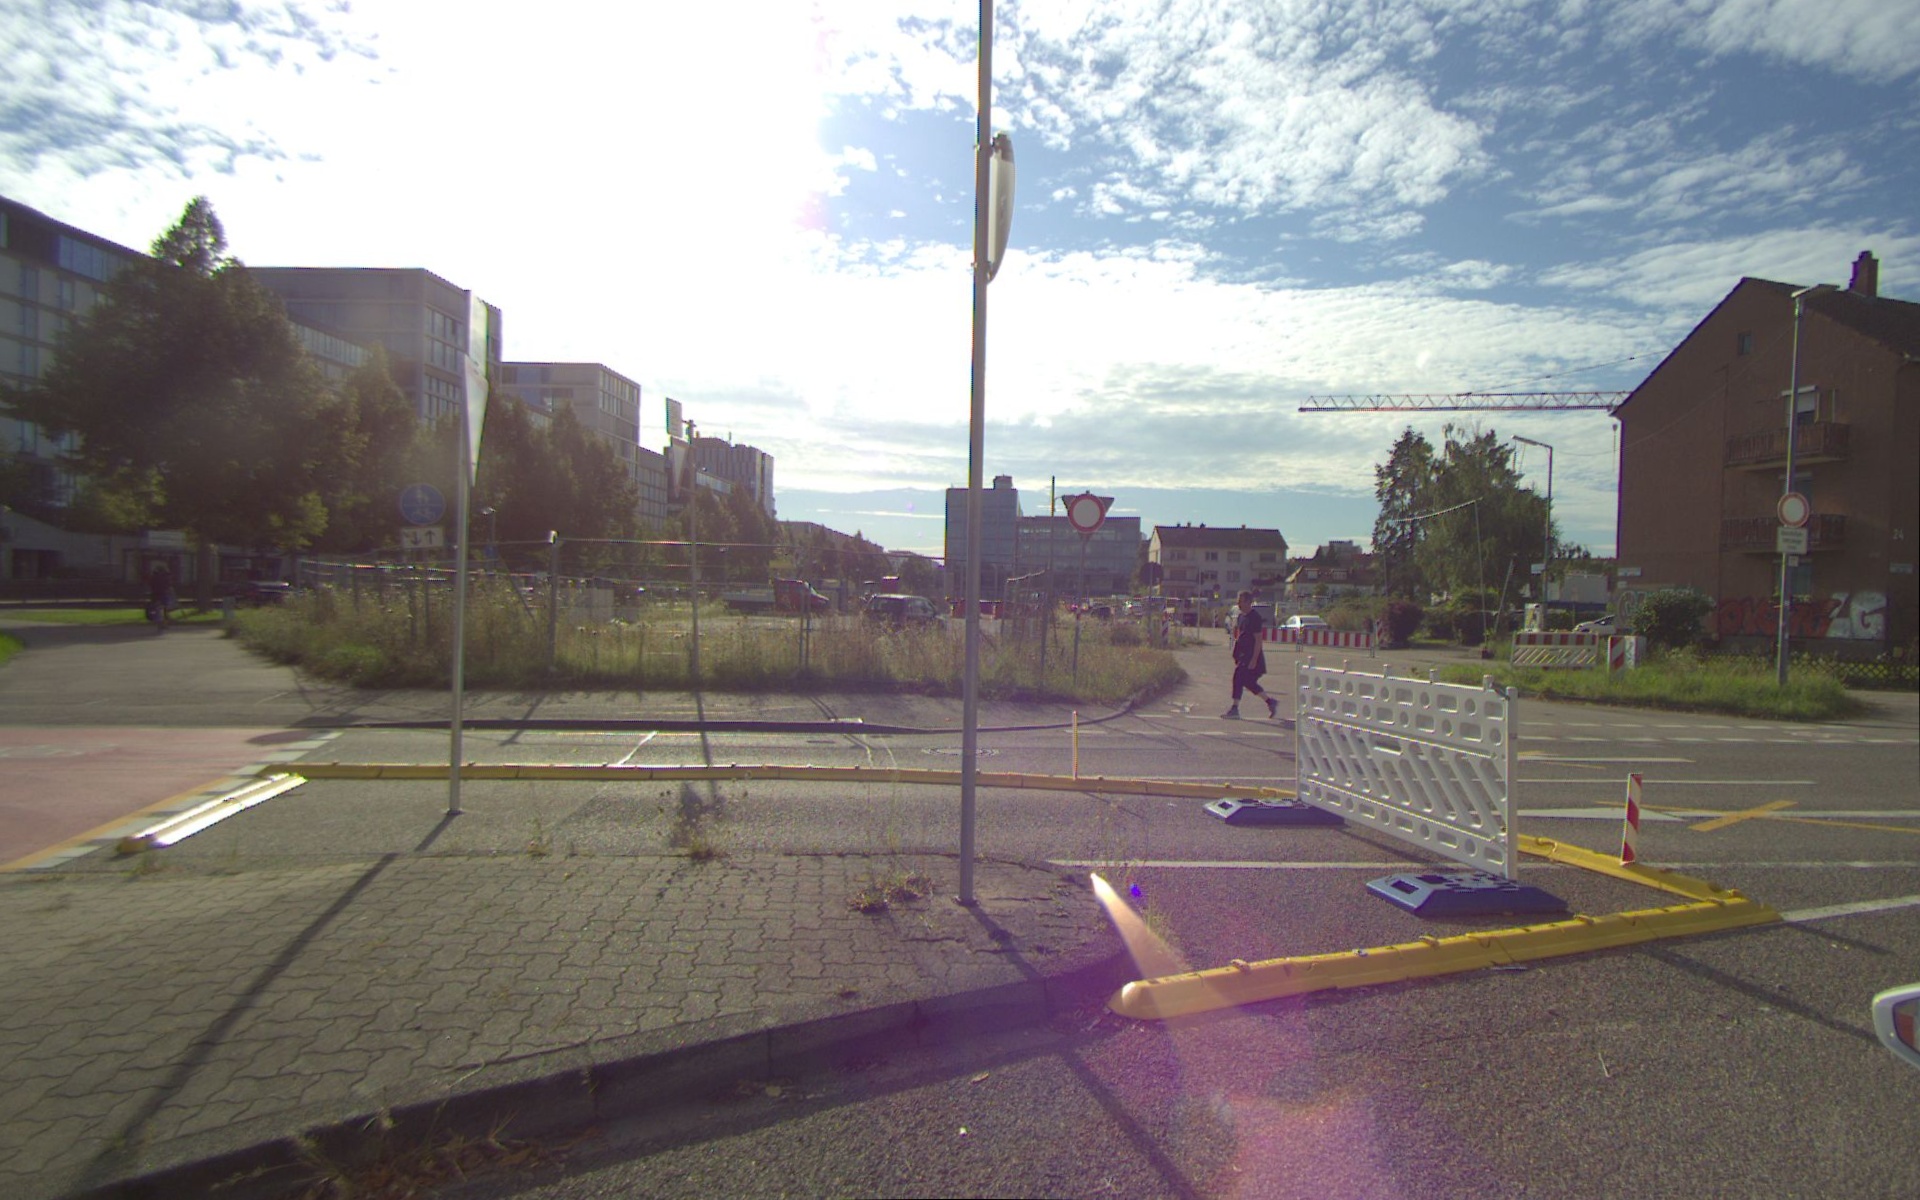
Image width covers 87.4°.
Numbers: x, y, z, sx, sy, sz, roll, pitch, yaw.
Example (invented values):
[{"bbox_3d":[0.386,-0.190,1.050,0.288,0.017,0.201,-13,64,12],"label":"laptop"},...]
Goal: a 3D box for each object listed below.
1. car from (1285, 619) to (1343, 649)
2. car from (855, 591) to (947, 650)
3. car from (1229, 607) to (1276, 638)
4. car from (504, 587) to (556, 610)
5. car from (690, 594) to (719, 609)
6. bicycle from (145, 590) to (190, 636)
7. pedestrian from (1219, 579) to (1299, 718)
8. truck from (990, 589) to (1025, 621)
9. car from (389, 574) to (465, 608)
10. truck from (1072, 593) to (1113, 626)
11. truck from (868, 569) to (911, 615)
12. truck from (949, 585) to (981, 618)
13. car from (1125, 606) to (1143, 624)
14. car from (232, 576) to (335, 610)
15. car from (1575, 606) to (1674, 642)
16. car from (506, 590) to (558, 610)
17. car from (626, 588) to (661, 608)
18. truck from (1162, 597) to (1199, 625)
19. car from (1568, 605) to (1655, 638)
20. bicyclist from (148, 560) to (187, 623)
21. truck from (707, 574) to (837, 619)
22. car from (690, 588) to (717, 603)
[{"bbox_3d":[18.715,1.781,53.236,1.687,1.411,4.000,2,0,1],"label":"car"},{"bbox_3d":[-1.931,0.657,34.109,1.848,1.840,4.001,2,0,17],"label":"car"},{"bbox_3d":[18.762,1.420,64.495,1.848,1.840,4.000,2,0,1],"label":"car"},{"bbox_3d":[-33.759,-0.103,78.955,1.864,1.655,4.662,2,0,3],"label":"car"},{"bbox_3d":[-28.820,0.157,113.502,1.864,1.632,4.662,2,0,3],"label":"car"},{"bbox_3d":[-19.819,0.304,25.140,0.698,1.077,2.184,1,1,-34],"label":"bicycle"},{"bbox_3d":[4.200,0.662,14.120,0.826,1.896,0.663,1,1,-32],"label":"pedestrian"},{"bbox_3d":[3.624,0.365,77.671,2.289,2.359,6.452,2,0,-1],"label":"truck"},{"bbox_3d":[-32.669,-0.581,61.695,1.864,1.928,4.662,2,1,5],"label":"car"},{"bbox_3d":[10.095,0.703,77.036,2.248,2.359,5.638,2,0,-1],"label":"truck"},{"bbox_3d":[-5.323,-0.617,77.144,2.761,3.250,7.315,2,0,-1],"label":"truck"},{"bbox_3d":[0.345,0.131,77.444,2.289,2.359,6.452,2,0,-1],"label":"truck"},{"bbox_3d":[19.908,1.695,115.131,1.959,1.884,4.002,2,0,9],"label":"car"},{"bbox_3d":[-35.707,-0.348,53.184,1.960,1.587,4.845,4,0,2],"label":"car"},{"bbox_3d":[33.363,1.191,50.489,3.941,1.639,1.764,2,0,41],"label":"car"},{"bbox_3d":[-33.561,-0.036,78.868,1.864,1.450,4.662,2,1,3],"label":"car"},{"bbox_3d":[-32.119,-0.159,102.085,1.864,1.928,4.661,2,0,1],"label":"car"},{"bbox_3d":[18.737,0.915,85.665,1.941,2.200,5.406,2,0,1],"label":"truck"},{"bbox_3d":[36.055,1.182,55.694,3.929,1.639,1.770,2,0,31],"label":"car"},{"bbox_3d":[-19.847,-0.213,25.165,0.698,1.532,1.000,1,1,-35],"label":"bicyclist"},{"bbox_3d":[-12.081,-0.235,65.000,7.703,2.601,3.075,2,0,3],"label":"truck"},{"bbox_3d":[-28.953,-0.481,113.490,1.865,1.632,4.659,2,0,-2],"label":"car"}]
